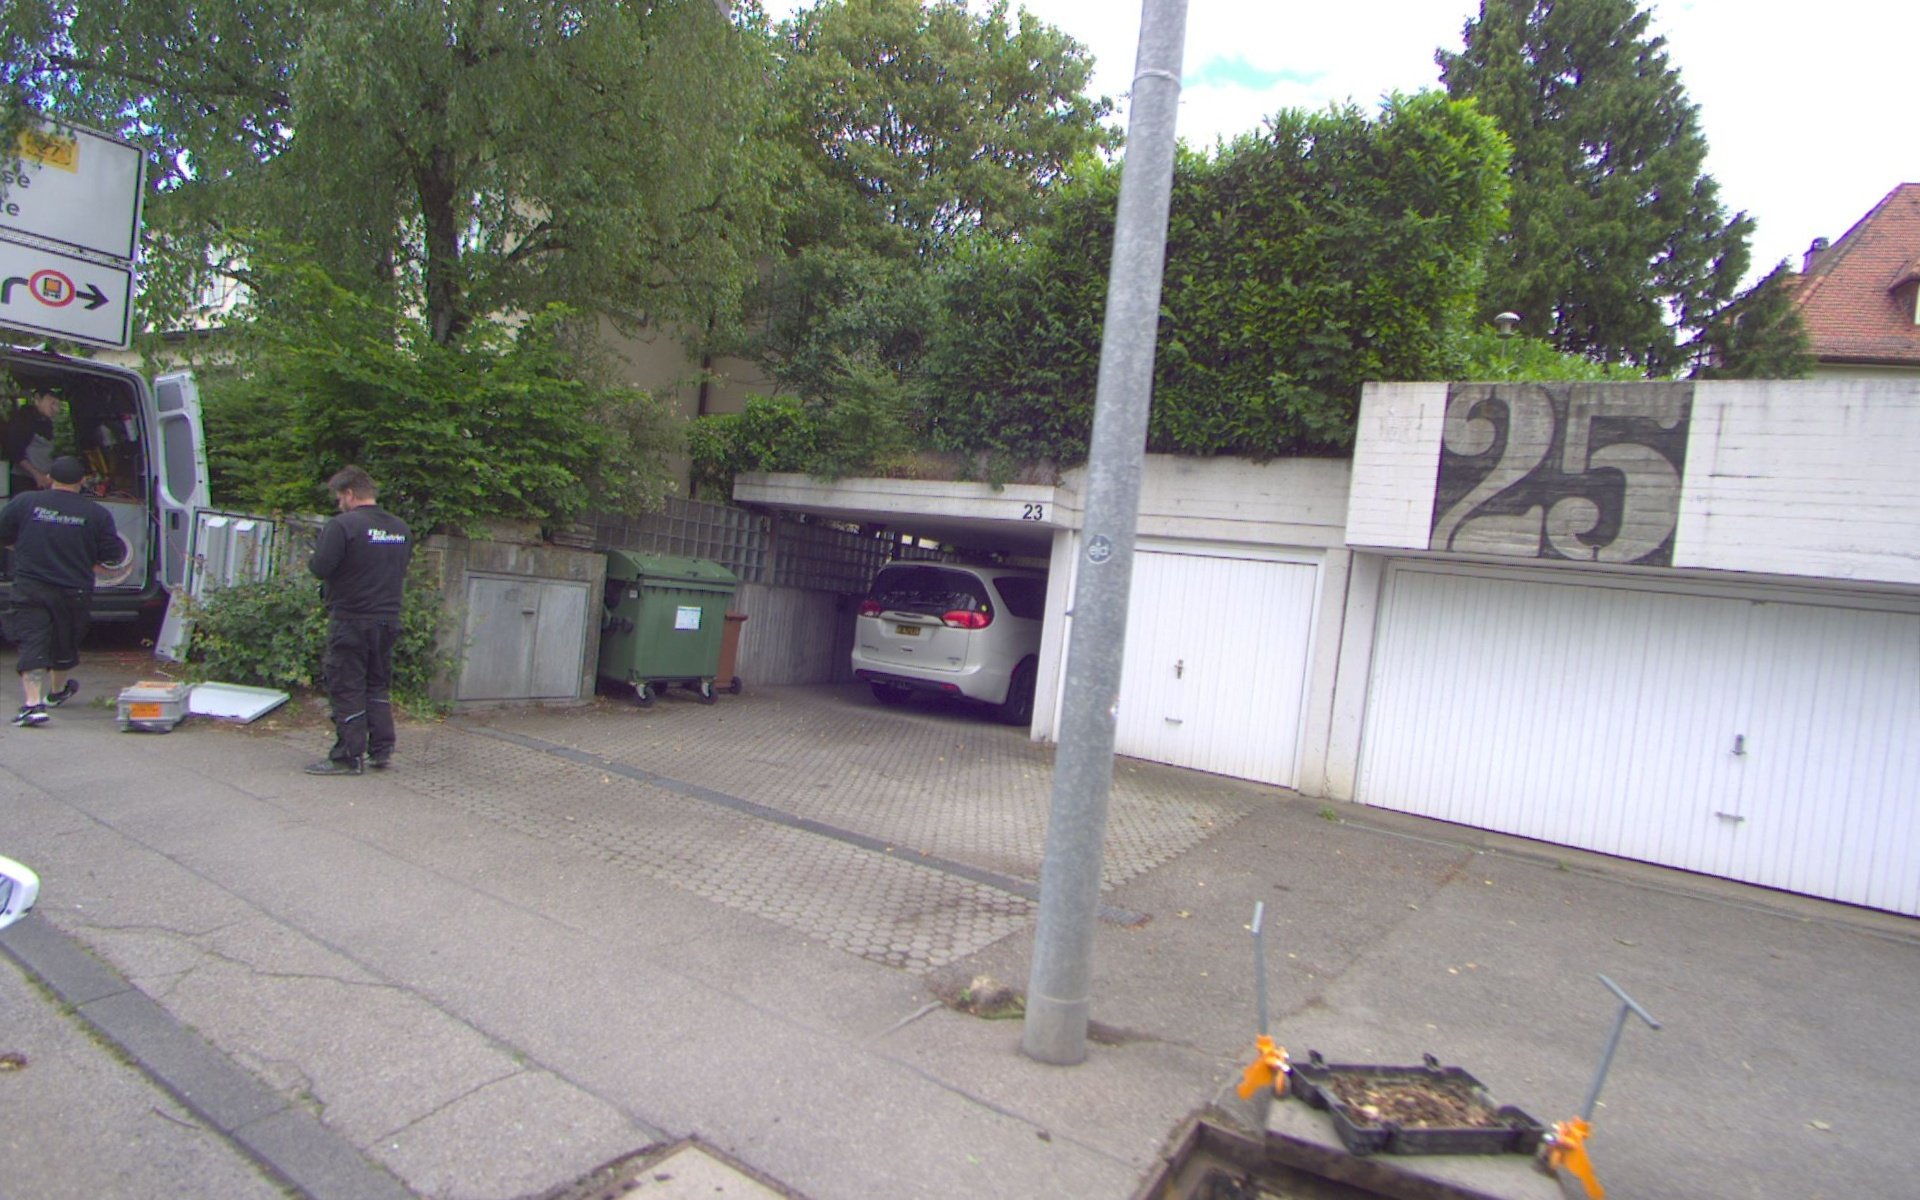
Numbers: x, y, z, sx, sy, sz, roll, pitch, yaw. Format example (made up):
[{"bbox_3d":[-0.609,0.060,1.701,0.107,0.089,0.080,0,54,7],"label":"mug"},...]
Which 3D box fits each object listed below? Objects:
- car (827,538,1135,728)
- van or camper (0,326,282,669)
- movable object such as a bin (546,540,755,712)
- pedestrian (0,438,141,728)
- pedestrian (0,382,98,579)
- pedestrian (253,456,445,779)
[{"bbox_3d":[0.442,0.446,12.461,1.966,1.810,3.993,7,0,30],"label":"car"},{"bbox_3d":[-9.562,-1.002,9.677,6.490,2.529,2.341,5,3,29],"label":"van or camper"},{"bbox_3d":[-3.083,0.243,10.092,1.276,1.481,1.420,7,2,31],"label":"movable object such as a bin"},{"bbox_3d":[-5.811,-0.115,6.479,0.745,1.744,0.783,3,4,-38],"label":"pedestrian"},{"bbox_3d":[-8.506,-1.064,9.044,0.786,1.665,0.739,5,1,8],"label":"pedestrian"},{"bbox_3d":[-3.600,0.097,5.934,0.645,1.773,0.647,6,1,38],"label":"pedestrian"}]
